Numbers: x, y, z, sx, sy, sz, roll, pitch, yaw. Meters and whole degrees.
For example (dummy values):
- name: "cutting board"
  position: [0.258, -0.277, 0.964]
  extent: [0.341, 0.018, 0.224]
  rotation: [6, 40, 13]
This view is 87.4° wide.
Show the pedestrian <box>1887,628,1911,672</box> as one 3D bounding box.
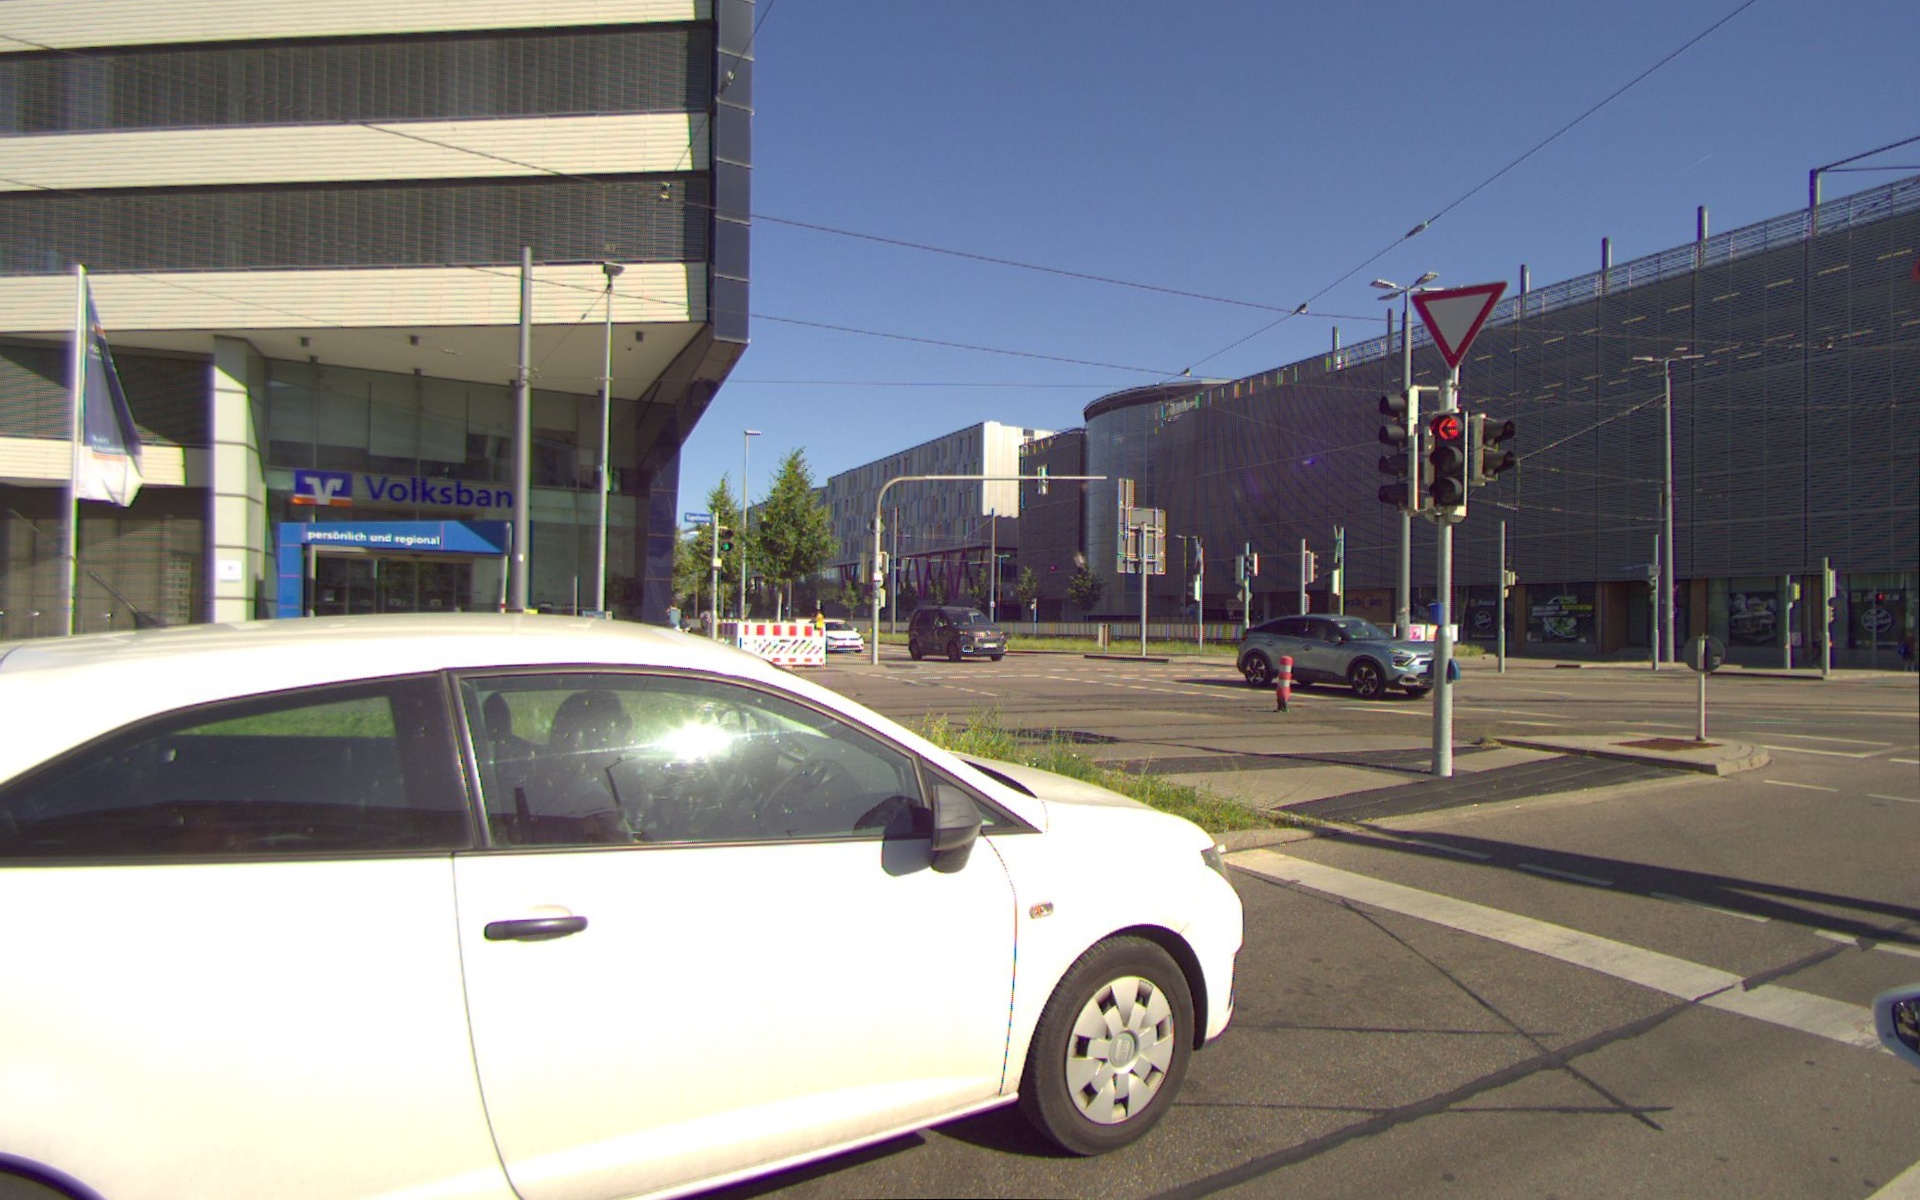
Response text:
- name: "pedestrian"
  position: [39.964, 2.115, 42.730]
  extent: [0.687, 1.821, 0.726]
  rotation: [-2, -3, 44]

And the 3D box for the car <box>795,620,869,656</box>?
- name: "car"
  position: [-5.675, 1.631, 44.157]
  extent: [1.842, 1.492, 4.265]
  rotation: [1, -1, -28]

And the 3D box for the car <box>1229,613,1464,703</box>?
- name: "car"
  position: [7.596, 1.071, 20.134]
  extent: [1.690, 1.534, 4.241]
  rotation: [1, 0, -32]

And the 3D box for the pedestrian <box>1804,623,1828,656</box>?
- name: "pedestrian"
  position: [43.302, 1.989, 50.811]
  extent: [0.584, 1.622, 0.661]
  rotation: [2, 0, -11]

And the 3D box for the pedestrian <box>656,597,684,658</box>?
- name: "pedestrian"
  position: [-8.453, 0.806, 29.271]
  extent: [0.729, 1.719, 0.805]
  rotation: [0, -2, -20]

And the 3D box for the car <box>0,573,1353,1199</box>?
- name: "car"
  position: [-0.961, 0.739, 2.791]
  extent: [3.977, 1.460, 1.723]
  rotation: [2, 1, -31]

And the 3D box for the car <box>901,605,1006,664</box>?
- name: "car"
  position: [-0.298, 1.102, 33.307]
  extent: [1.687, 1.815, 4.442]
  rotation: [1, -1, -27]
